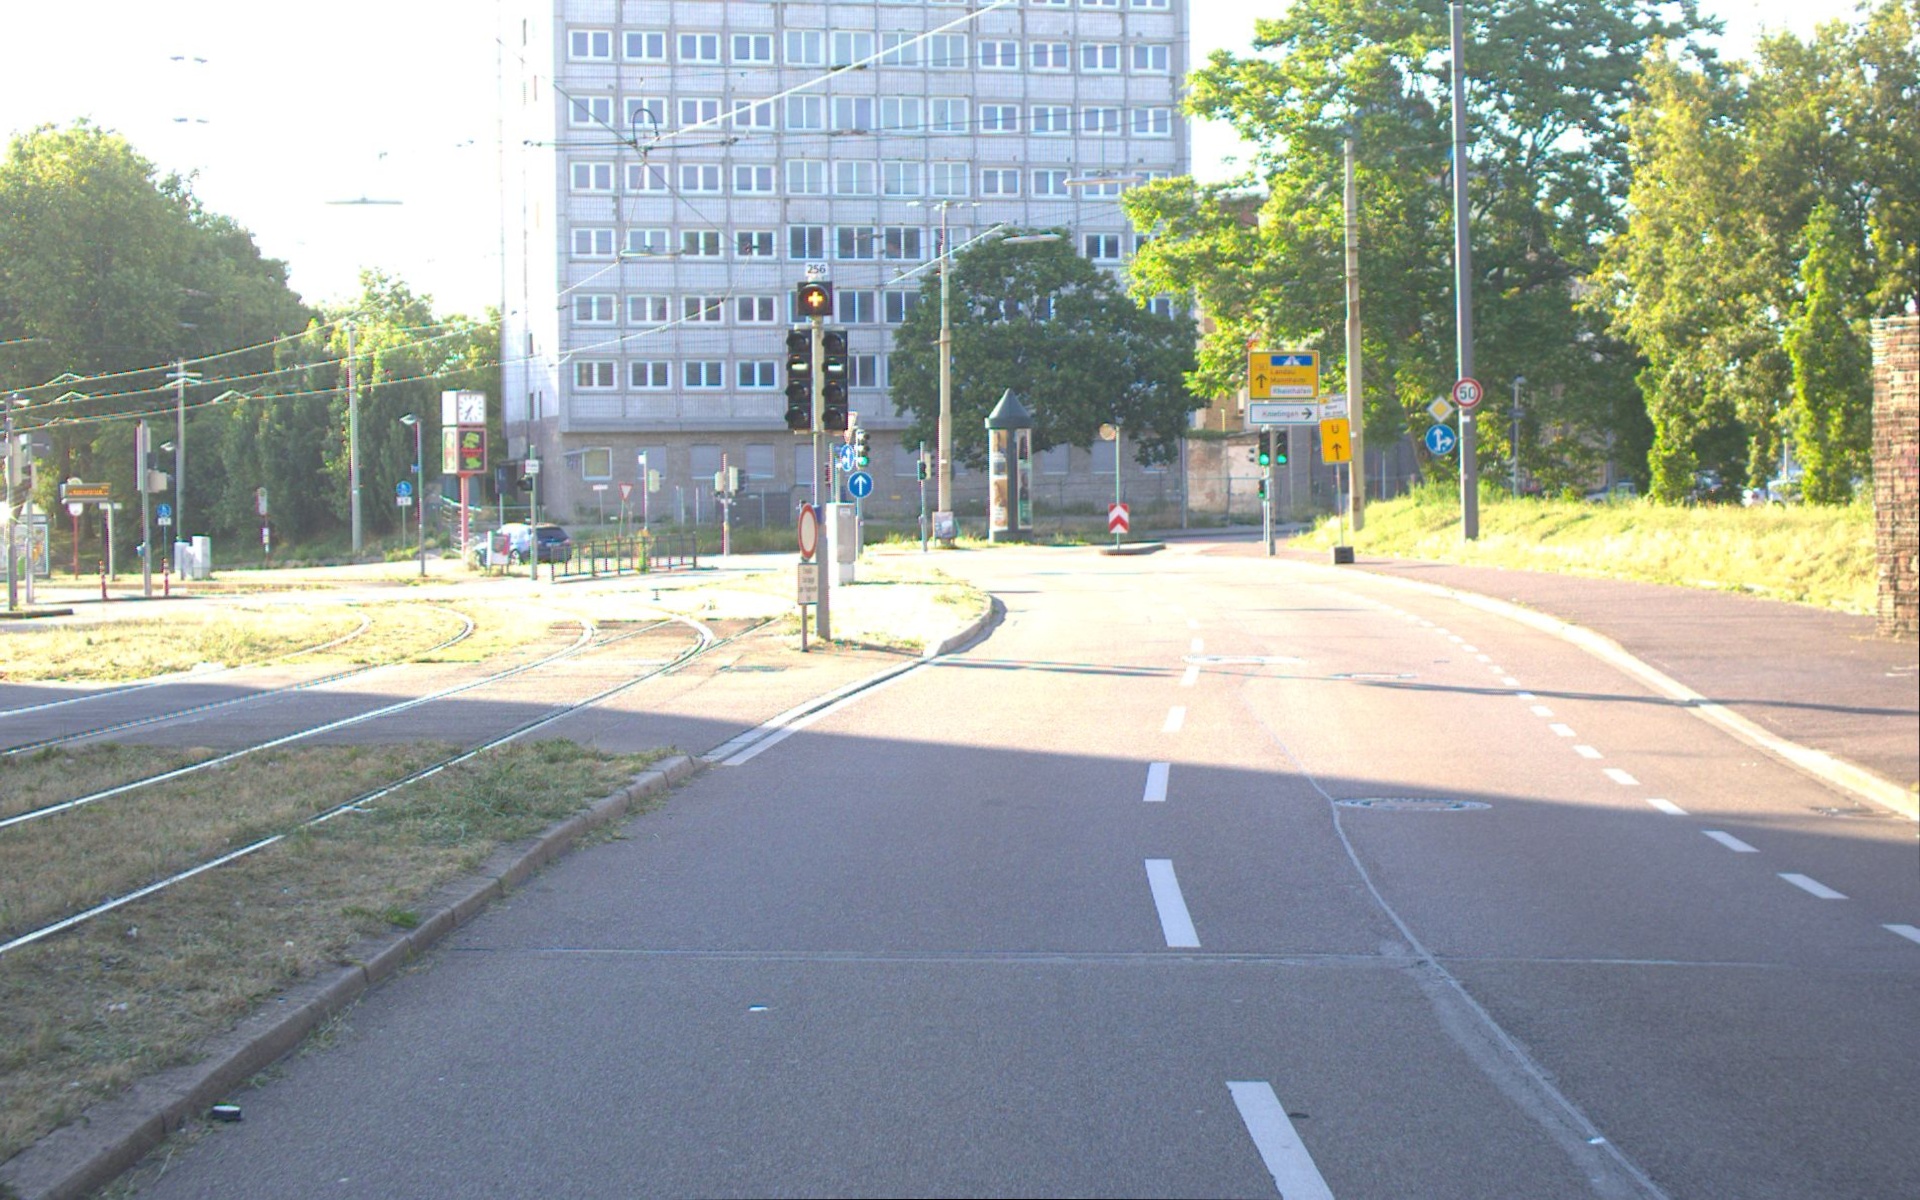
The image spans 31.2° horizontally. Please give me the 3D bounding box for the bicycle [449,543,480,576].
[{"bbox_3d":[-14.712,-1.217,102.053,0.553,0.914,1.743,-3,2,3],"label":"bicycle"}]

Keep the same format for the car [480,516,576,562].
[{"bbox_3d":[-13.956,-1.971,110.956,1.772,1.417,3.856,-3,2,-28],"label":"car"}]
